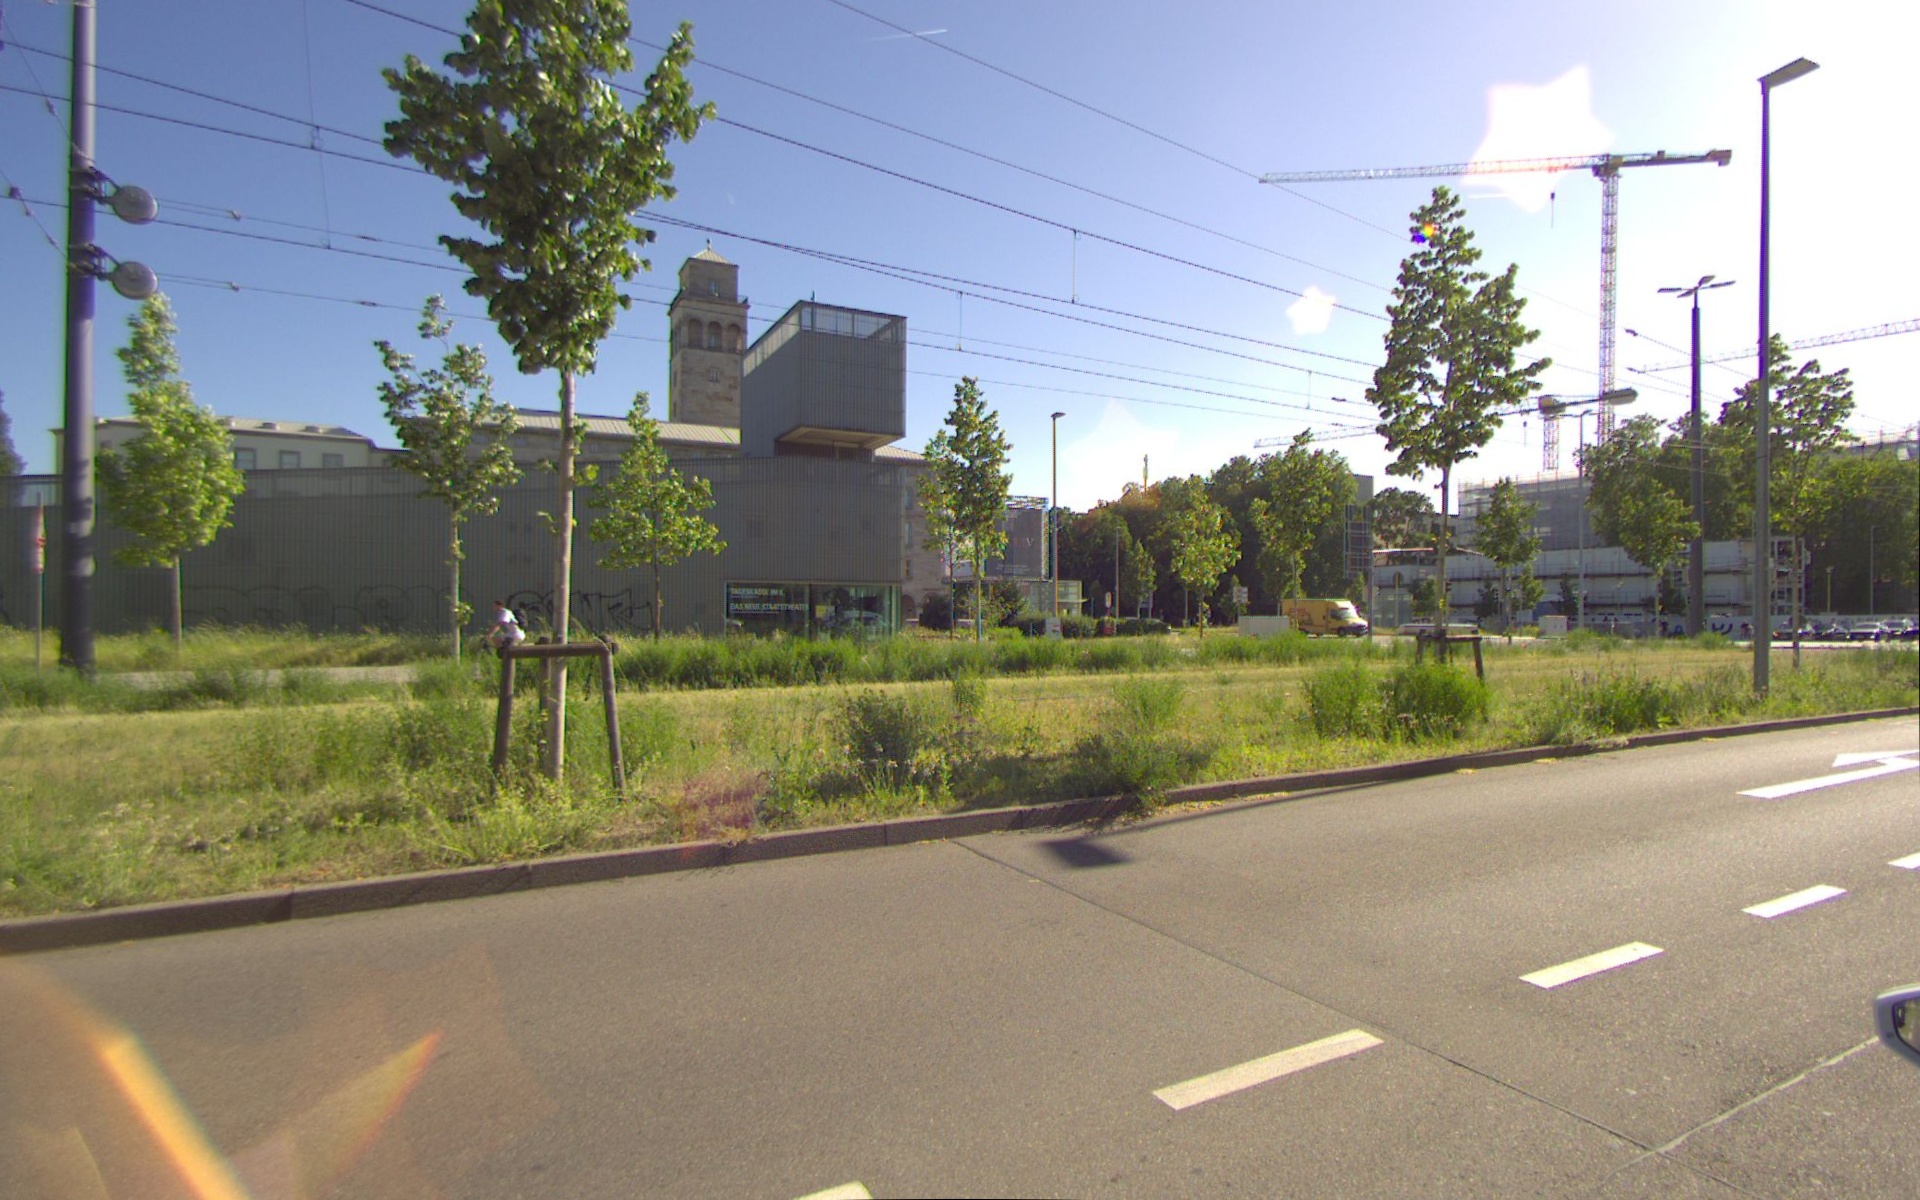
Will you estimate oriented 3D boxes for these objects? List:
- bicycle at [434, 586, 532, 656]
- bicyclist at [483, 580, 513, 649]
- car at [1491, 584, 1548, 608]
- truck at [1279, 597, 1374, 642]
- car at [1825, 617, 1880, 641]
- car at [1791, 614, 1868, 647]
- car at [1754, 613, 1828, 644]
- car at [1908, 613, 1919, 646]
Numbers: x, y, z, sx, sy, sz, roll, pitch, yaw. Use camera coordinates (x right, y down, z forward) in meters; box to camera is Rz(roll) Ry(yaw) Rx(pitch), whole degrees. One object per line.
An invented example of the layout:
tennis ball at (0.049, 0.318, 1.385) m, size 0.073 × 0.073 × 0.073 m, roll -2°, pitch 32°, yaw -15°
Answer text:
bicycle at (-10.302, 0.451, 21.715) m, size 1.891 × 1.475 × 0.358 m, roll 0°, pitch 0°, yaw -30°
bicyclist at (-10.047, 0.315, 21.834) m, size 0.533 × 1.474 × 0.392 m, roll 1°, pitch 2°, yaw -31°
car at (39.619, -0.266, 71.086) m, size 3.953 × 1.577 × 1.702 m, roll 2°, pitch 1°, yaw -30°
truck at (27.173, 1.389, 74.813) m, size 1.977 × 3.002 × 6.928 m, roll 2°, pitch 1°, yaw -30°
car at (63.647, 2.071, 71.658) m, size 3.851 × 1.634 × 1.828 m, roll 2°, pitch 1°, yaw -31°
car at (34.489, 1.226, 39.844) m, size 3.183 × 1.194 × 1.369 m, roll 2°, pitch 1°, yaw -31°
car at (34.778, 1.195, 42.036) m, size 3.183 × 1.194 × 1.369 m, roll 2°, pitch 1°, yaw -31°
car at (37.039, 1.144, 37.629) m, size 3.183 × 1.194 × 1.369 m, roll 2°, pitch 1°, yaw -31°
